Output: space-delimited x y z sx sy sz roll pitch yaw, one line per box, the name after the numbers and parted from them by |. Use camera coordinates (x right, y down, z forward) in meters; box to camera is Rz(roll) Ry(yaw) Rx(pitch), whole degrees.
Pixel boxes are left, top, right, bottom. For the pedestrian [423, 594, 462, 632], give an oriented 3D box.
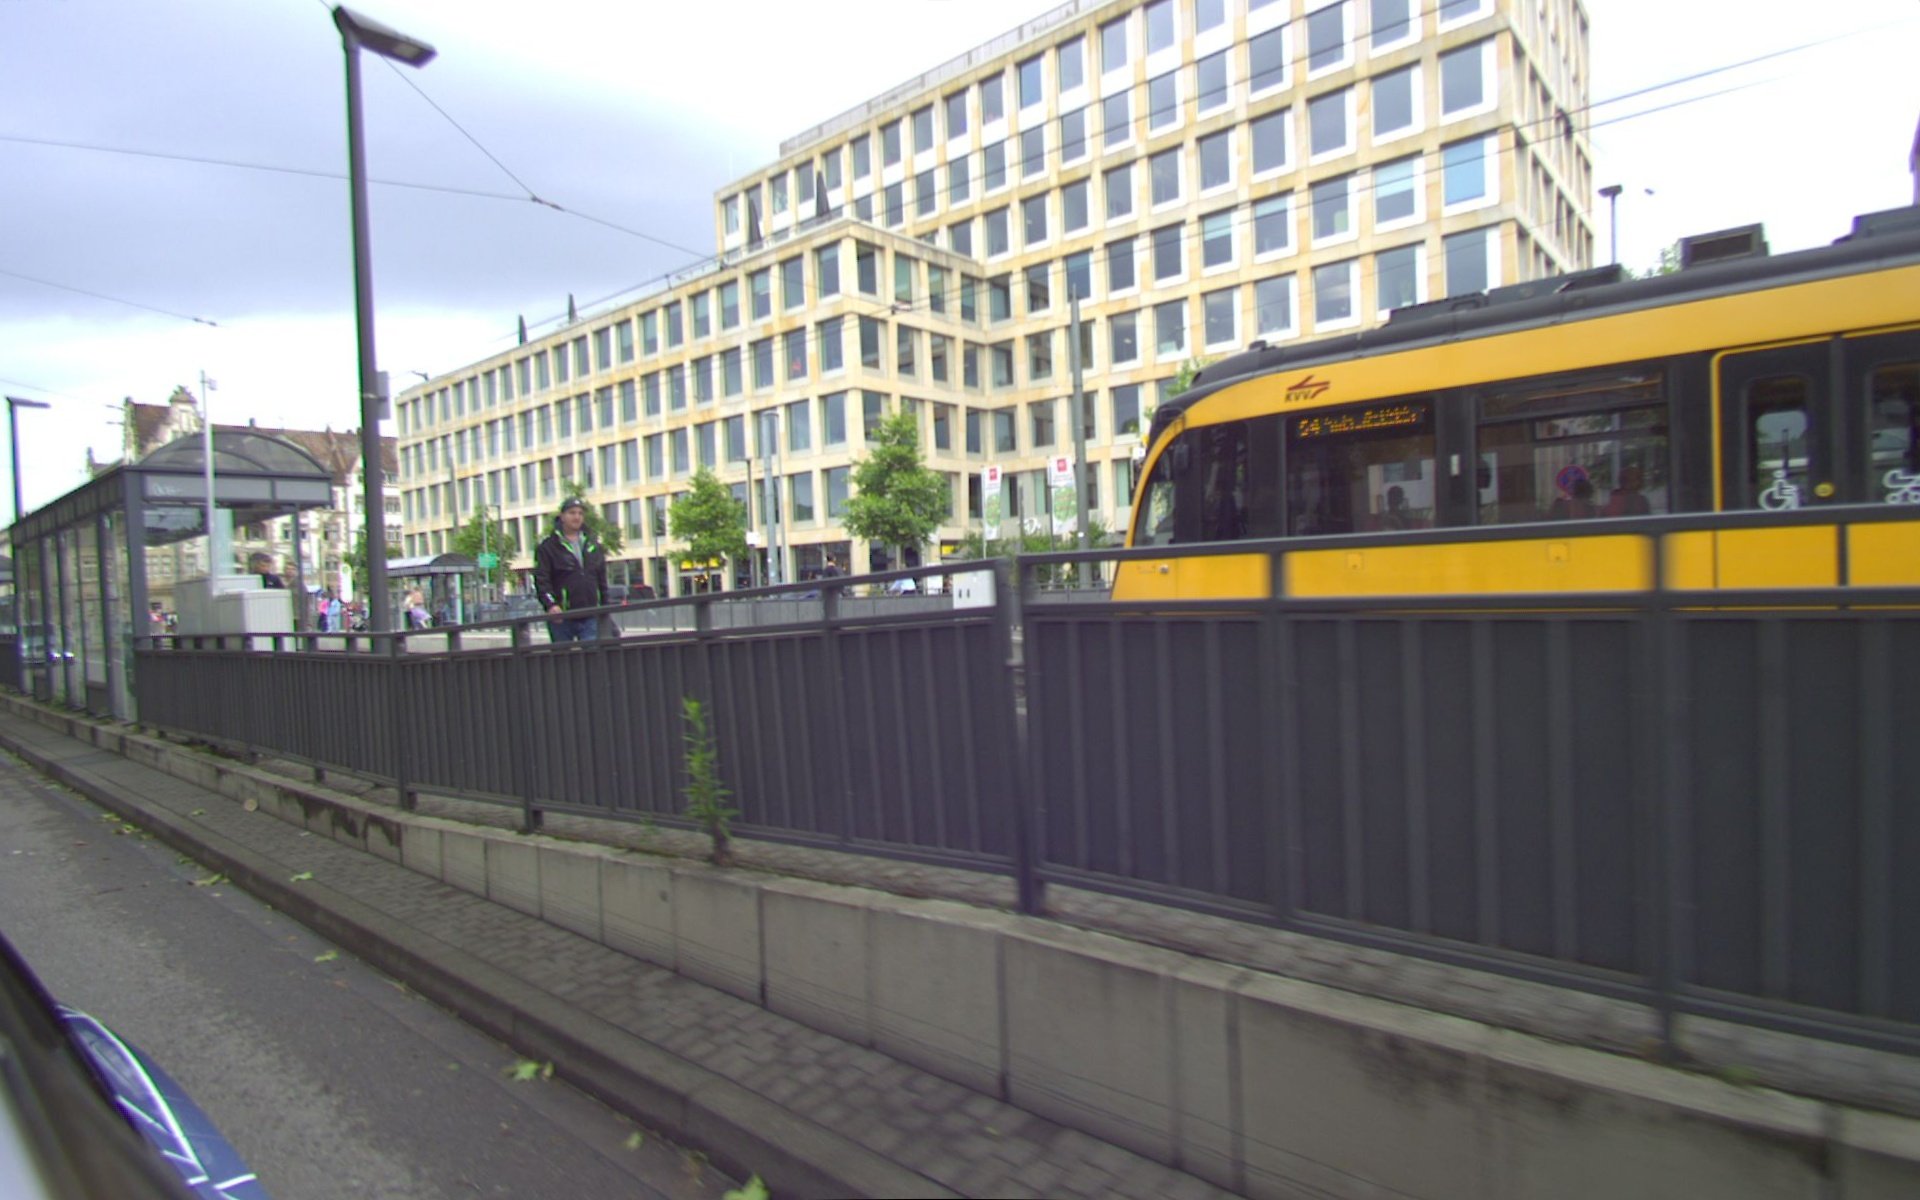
-20.024 0.503 39.161 0.939 1.382 1.027 -1 1 44 | pedestrian

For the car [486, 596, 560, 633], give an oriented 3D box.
-22.012 0.723 50.924 4.000 1.674 1.972 -1 1 43 | car

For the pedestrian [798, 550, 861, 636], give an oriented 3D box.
-2.833 -0.156 21.934 1.159 1.809 0.704 -1 1 40 | pedestrian

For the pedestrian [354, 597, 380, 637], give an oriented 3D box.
-24.451 0.710 41.736 0.649 1.619 0.578 -2 1 8 | pedestrian

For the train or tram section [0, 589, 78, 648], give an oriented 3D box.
-63.899 1.255 69.725 11.690 3.667 2.826 -1 1 40 | train or tram section

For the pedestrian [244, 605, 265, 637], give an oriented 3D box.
-35.780 1.054 51.321 0.593 1.599 0.584 -2 1 22 | pedestrian

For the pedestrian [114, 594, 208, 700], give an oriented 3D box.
-10.574 0.601 13.400 0.613 1.313 0.827 -1 1 39 | pedestrian

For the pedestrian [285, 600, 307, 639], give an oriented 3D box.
-31.016 0.929 47.293 0.589 1.782 0.588 -2 1 4 | pedestrian

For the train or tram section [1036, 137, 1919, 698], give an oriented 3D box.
6.246 -1.291 9.574 11.306 3.890 3.204 -1 1 41 | train or tram section

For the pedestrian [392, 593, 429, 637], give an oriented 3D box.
-21.836 0.601 40.214 0.939 1.698 1.027 -1 1 44 | pedestrian

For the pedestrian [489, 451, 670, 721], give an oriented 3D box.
-3.098 -0.117 8.277 0.840 2.028 1.047 -1 1 41 | pedestrian

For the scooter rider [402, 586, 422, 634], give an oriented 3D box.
-18.886 0.343 34.888 0.554 1.661 0.399 -1 1 41 | scooter rider

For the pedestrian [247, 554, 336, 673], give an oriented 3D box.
-10.459 0.206 15.834 1.108 1.807 0.666 -1 1 28 | pedestrian

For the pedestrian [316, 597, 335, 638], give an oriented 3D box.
-26.058 0.717 41.550 0.529 1.619 0.566 -3 1 -42 | pedestrian

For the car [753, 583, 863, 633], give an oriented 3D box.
-5.682 0.295 37.636 4.000 1.674 1.972 -1 1 43 | car

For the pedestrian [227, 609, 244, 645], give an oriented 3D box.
-36.177 1.335 50.520 0.588 1.782 0.589 -3 1 -42 | pedestrian

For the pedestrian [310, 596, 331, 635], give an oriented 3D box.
-31.204 0.768 49.377 0.690 1.868 0.721 -3 1 -42 | pedestrian

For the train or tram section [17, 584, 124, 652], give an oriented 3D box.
-54.265 1.086 61.528 13.510 3.719 2.826 -1 1 40 | train or tram section

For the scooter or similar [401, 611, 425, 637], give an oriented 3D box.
-18.866 0.821 34.901 1.003 0.856 0.383 -1 1 40 | scooter or similar

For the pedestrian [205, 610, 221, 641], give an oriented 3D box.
-39.710 1.348 53.779 0.588 1.599 0.589 -3 1 -42 | pedestrian

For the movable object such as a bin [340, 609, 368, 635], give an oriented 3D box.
-24.647 0.883 41.161 0.714 1.029 0.620 -2 1 8 | movable object such as a bin

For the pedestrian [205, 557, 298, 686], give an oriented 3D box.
-10.253 0.299 14.644 1.109 1.807 0.665 -1 1 32 | pedestrian

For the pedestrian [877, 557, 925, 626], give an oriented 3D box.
-1.773 -0.259 30.484 1.031 2.028 0.923 -1 1 40 | pedestrian
